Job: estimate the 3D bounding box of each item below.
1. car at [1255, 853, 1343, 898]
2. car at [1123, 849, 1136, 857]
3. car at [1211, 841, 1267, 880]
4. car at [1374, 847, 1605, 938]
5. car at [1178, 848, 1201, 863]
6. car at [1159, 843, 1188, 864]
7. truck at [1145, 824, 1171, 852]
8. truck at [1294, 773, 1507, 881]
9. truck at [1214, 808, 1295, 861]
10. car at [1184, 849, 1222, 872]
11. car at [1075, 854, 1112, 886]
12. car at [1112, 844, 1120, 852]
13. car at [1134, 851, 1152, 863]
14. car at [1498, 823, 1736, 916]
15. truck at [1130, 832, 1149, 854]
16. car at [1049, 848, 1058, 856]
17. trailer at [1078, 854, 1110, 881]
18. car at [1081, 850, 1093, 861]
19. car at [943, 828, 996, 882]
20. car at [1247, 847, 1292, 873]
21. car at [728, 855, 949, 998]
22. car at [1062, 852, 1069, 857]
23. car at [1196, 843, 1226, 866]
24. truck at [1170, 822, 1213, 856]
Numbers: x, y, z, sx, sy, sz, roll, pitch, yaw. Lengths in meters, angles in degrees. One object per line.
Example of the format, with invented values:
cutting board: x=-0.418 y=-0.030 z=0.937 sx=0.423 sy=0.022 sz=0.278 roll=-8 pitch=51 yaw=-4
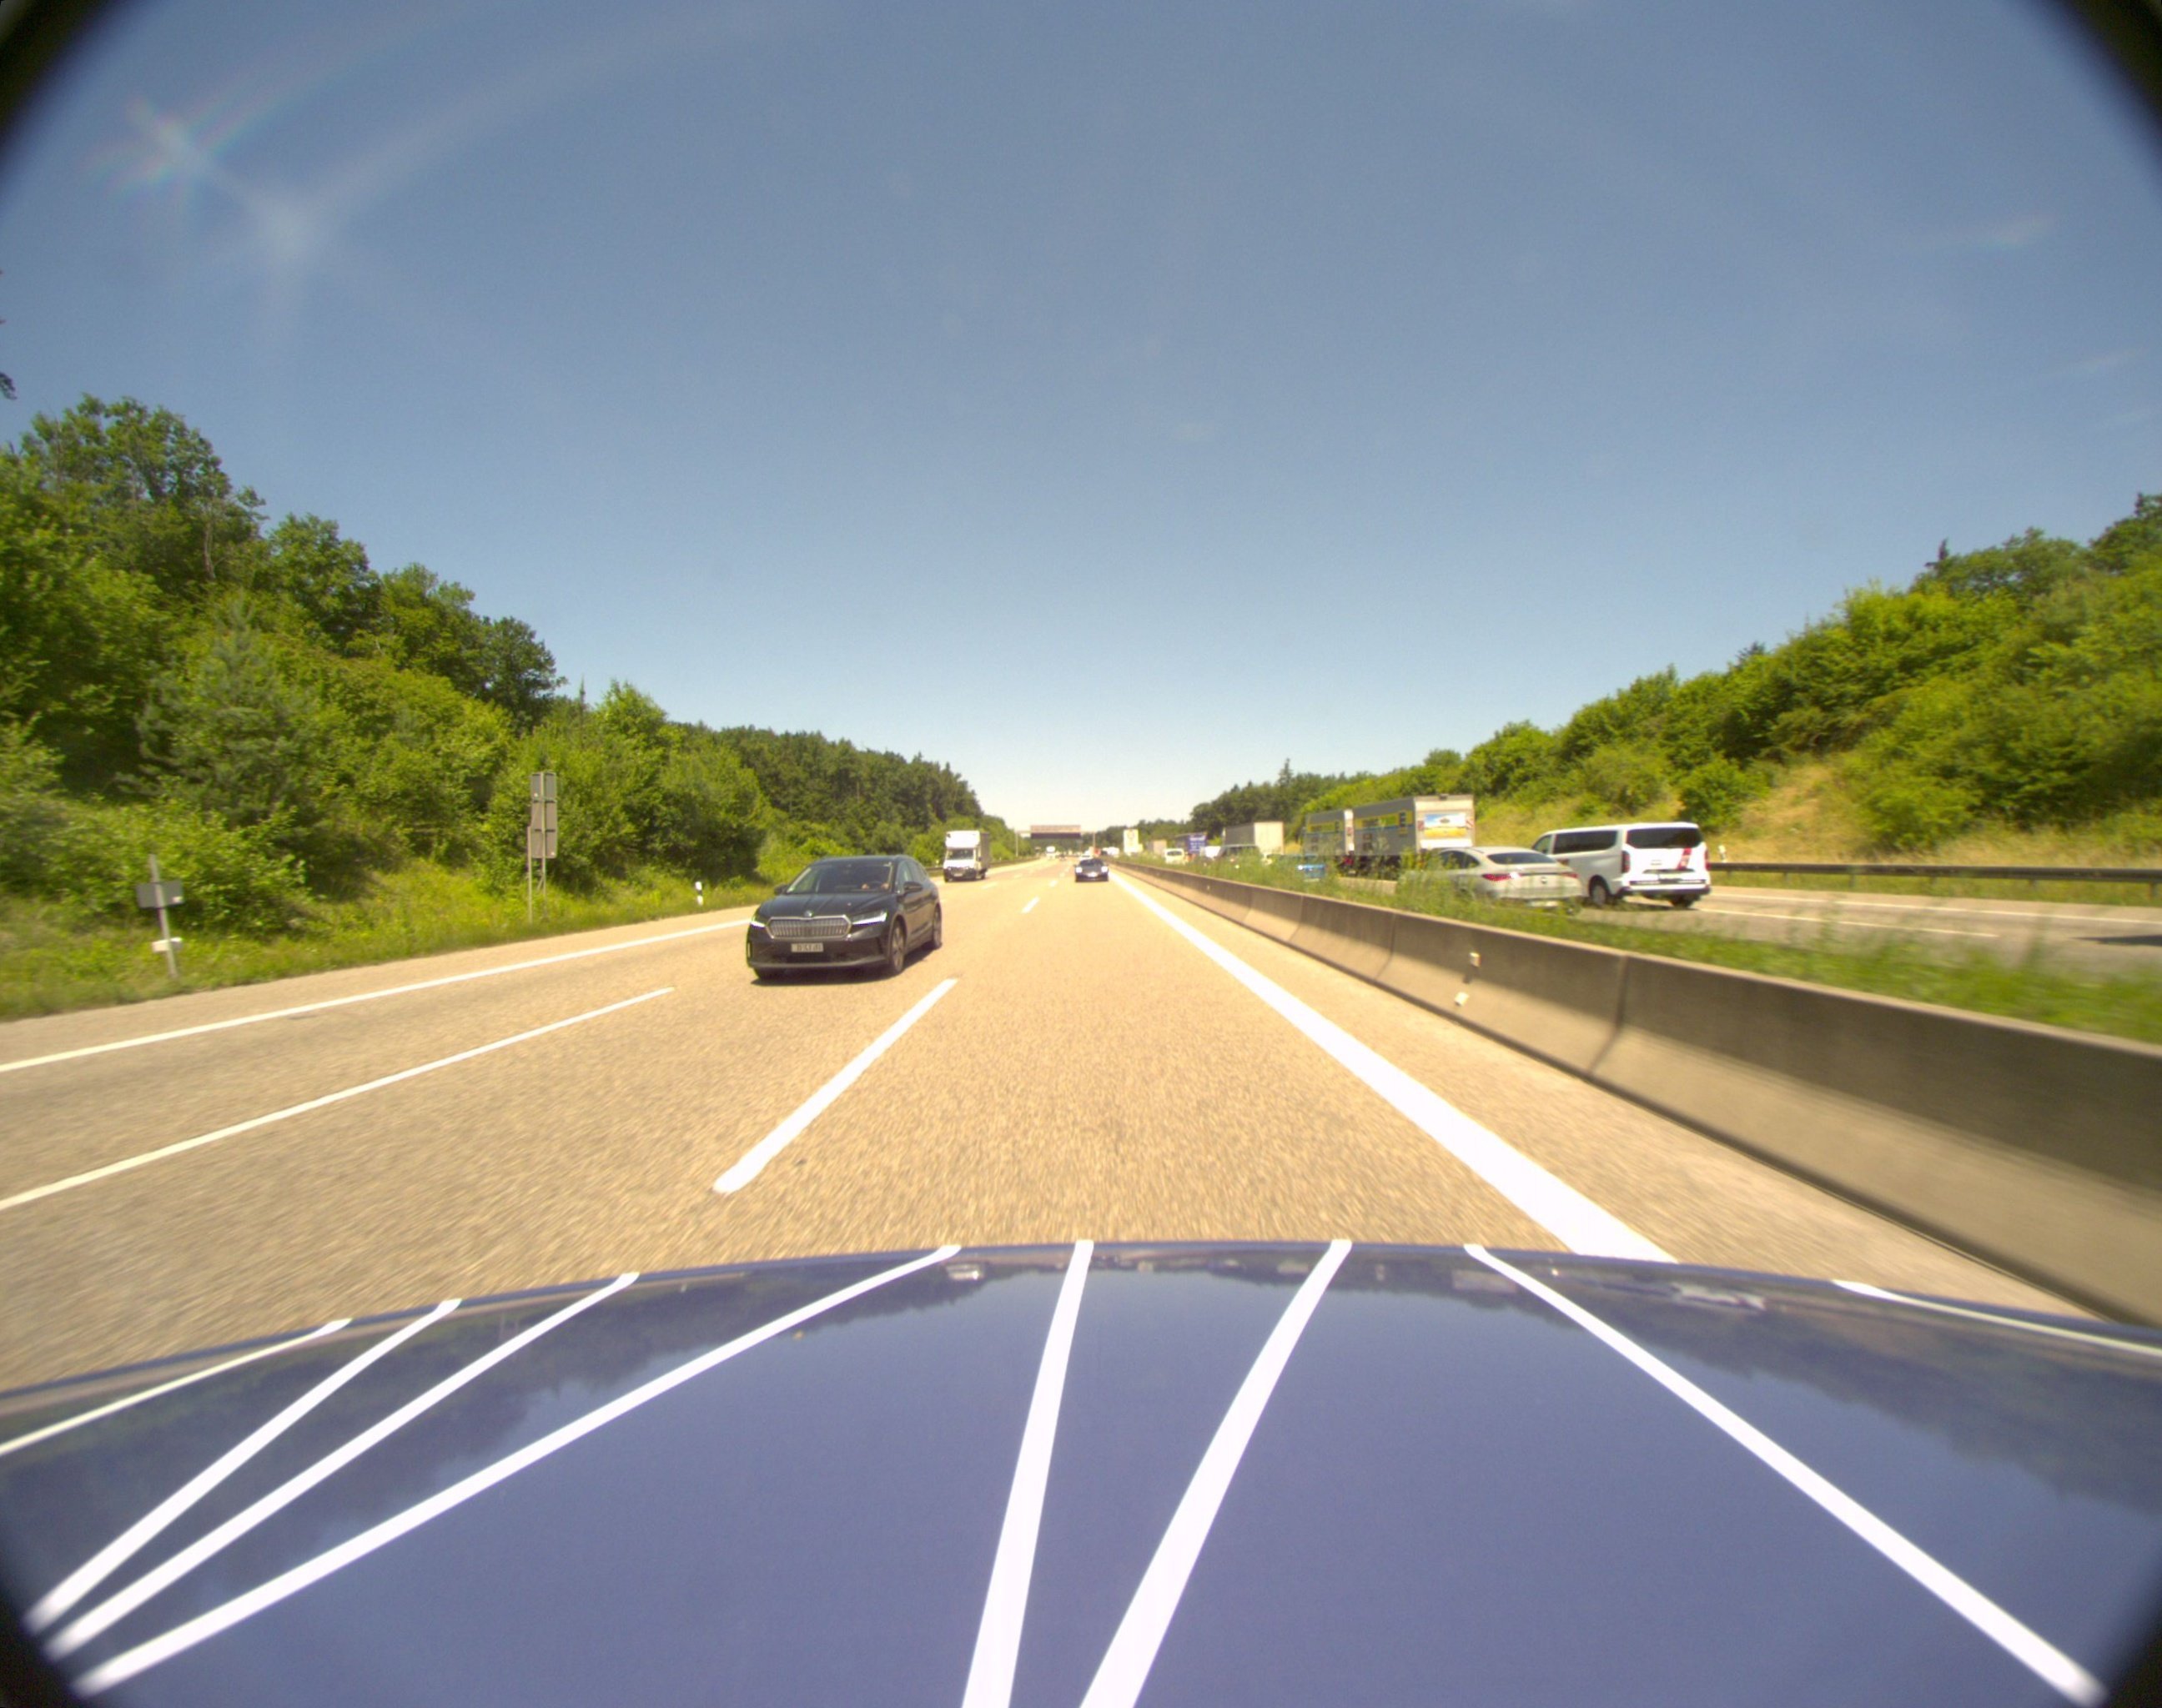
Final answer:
car: x=8.205 y=0.751 z=29.115 sx=1.831 sy=1.469 sz=4.971 roll=-2 pitch=1 yaw=-1
car: x=8.766 y=-0.163 z=138.037 sx=1.896 sy=1.369 sz=3.999 roll=-2 pitch=1 yaw=-1
car: x=8.395 y=0.308 z=40.835 sx=1.831 sy=1.905 sz=4.971 roll=-2 pitch=1 yaw=-1
car: x=8.148 y=0.646 z=15.903 sx=1.831 sy=1.469 sz=5.398 roll=-2 pitch=1 yaw=-1
car: x=12.594 y=0.167 z=88.202 sx=1.896 sy=1.669 sz=4.757 roll=-2 pitch=1 yaw=-1
car: x=8.554 y=-0.058 z=70.746 sx=1.986 sy=1.833 sz=5.019 roll=-2 pitch=1 yaw=0
truck: x=16.256 y=-3.386 z=161.787 sx=3.705 sy=5.470 sz=19.449 roll=-2 pitch=1 yaw=1
truck: x=16.207 y=-1.285 z=41.772 sx=3.705 sy=4.431 sz=19.449 roll=-2 pitch=1 yaw=1
truck: x=16.592 y=-1.794 z=74.768 sx=3.705 sy=4.431 sz=19.449 roll=-2 pitch=1 yaw=1
car: x=8.483 y=0.423 z=53.345 sx=1.831 sy=1.472 sz=4.658 roll=-2 pitch=1 yaw=-1
car: x=0.704 y=0.807 z=39.490 sx=1.718 sy=1.432 sz=4.457 roll=-2 pitch=1 yaw=3
car: x=7.958 y=-1.482 z=173.728 sx=1.674 sy=1.745 sz=4.249 roll=-2 pitch=1 yaw=0
car: x=7.887 y=0.338 z=97.013 sx=1.896 sy=1.369 sz=3.999 roll=-2 pitch=1 yaw=-1
car: x=13.132 y=0.283 z=19.284 sx=2.189 sy=1.930 sz=5.886 roll=-2 pitch=1 yaw=4
truck: x=15.909 y=-3.035 z=208.545 sx=3.705 sy=5.470 sz=19.449 roll=-2 pitch=1 yaw=1
car: x=-9.298 y=-0.700 z=255.403 sx=2.765 sy=2.423 sz=6.960 roll=-2 pitch=1 yaw=-4
trailer: x=0.761 y=0.748 z=42.866 sx=1.689 sy=1.399 sz=3.046 roll=-1 pitch=0 yaw=3
car: x=0.845 y=0.179 z=107.796 sx=1.718 sy=1.432 sz=4.456 roll=-1 pitch=1 yaw=1
car: x=-7.382 y=-0.009 z=51.341 sx=2.303 sy=3.317 sz=7.621 roll=-2 pitch=1 yaw=0
car: x=12.099 y=0.351 z=48.977 sx=1.837 sy=1.462 sz=4.034 roll=-2 pitch=1 yaw=-1
car: x=-3.323 y=0.881 z=11.468 sx=1.990 sy=1.610 sz=4.455 roll=-2 pitch=1 yaw=-2
car: x=-4.396 y=0.069 z=216.825 sx=1.719 sy=1.432 sz=4.455 roll=-2 pitch=1 yaw=-2
car: x=12.223 y=0.007 z=71.831 sx=1.896 sy=2.012 sz=4.757 roll=-2 pitch=1 yaw=-1
truck: x=16.151 y=-2.197 z=112.570 sx=3.705 sy=4.431 sz=19.449 roll=-2 pitch=1 yaw=1
